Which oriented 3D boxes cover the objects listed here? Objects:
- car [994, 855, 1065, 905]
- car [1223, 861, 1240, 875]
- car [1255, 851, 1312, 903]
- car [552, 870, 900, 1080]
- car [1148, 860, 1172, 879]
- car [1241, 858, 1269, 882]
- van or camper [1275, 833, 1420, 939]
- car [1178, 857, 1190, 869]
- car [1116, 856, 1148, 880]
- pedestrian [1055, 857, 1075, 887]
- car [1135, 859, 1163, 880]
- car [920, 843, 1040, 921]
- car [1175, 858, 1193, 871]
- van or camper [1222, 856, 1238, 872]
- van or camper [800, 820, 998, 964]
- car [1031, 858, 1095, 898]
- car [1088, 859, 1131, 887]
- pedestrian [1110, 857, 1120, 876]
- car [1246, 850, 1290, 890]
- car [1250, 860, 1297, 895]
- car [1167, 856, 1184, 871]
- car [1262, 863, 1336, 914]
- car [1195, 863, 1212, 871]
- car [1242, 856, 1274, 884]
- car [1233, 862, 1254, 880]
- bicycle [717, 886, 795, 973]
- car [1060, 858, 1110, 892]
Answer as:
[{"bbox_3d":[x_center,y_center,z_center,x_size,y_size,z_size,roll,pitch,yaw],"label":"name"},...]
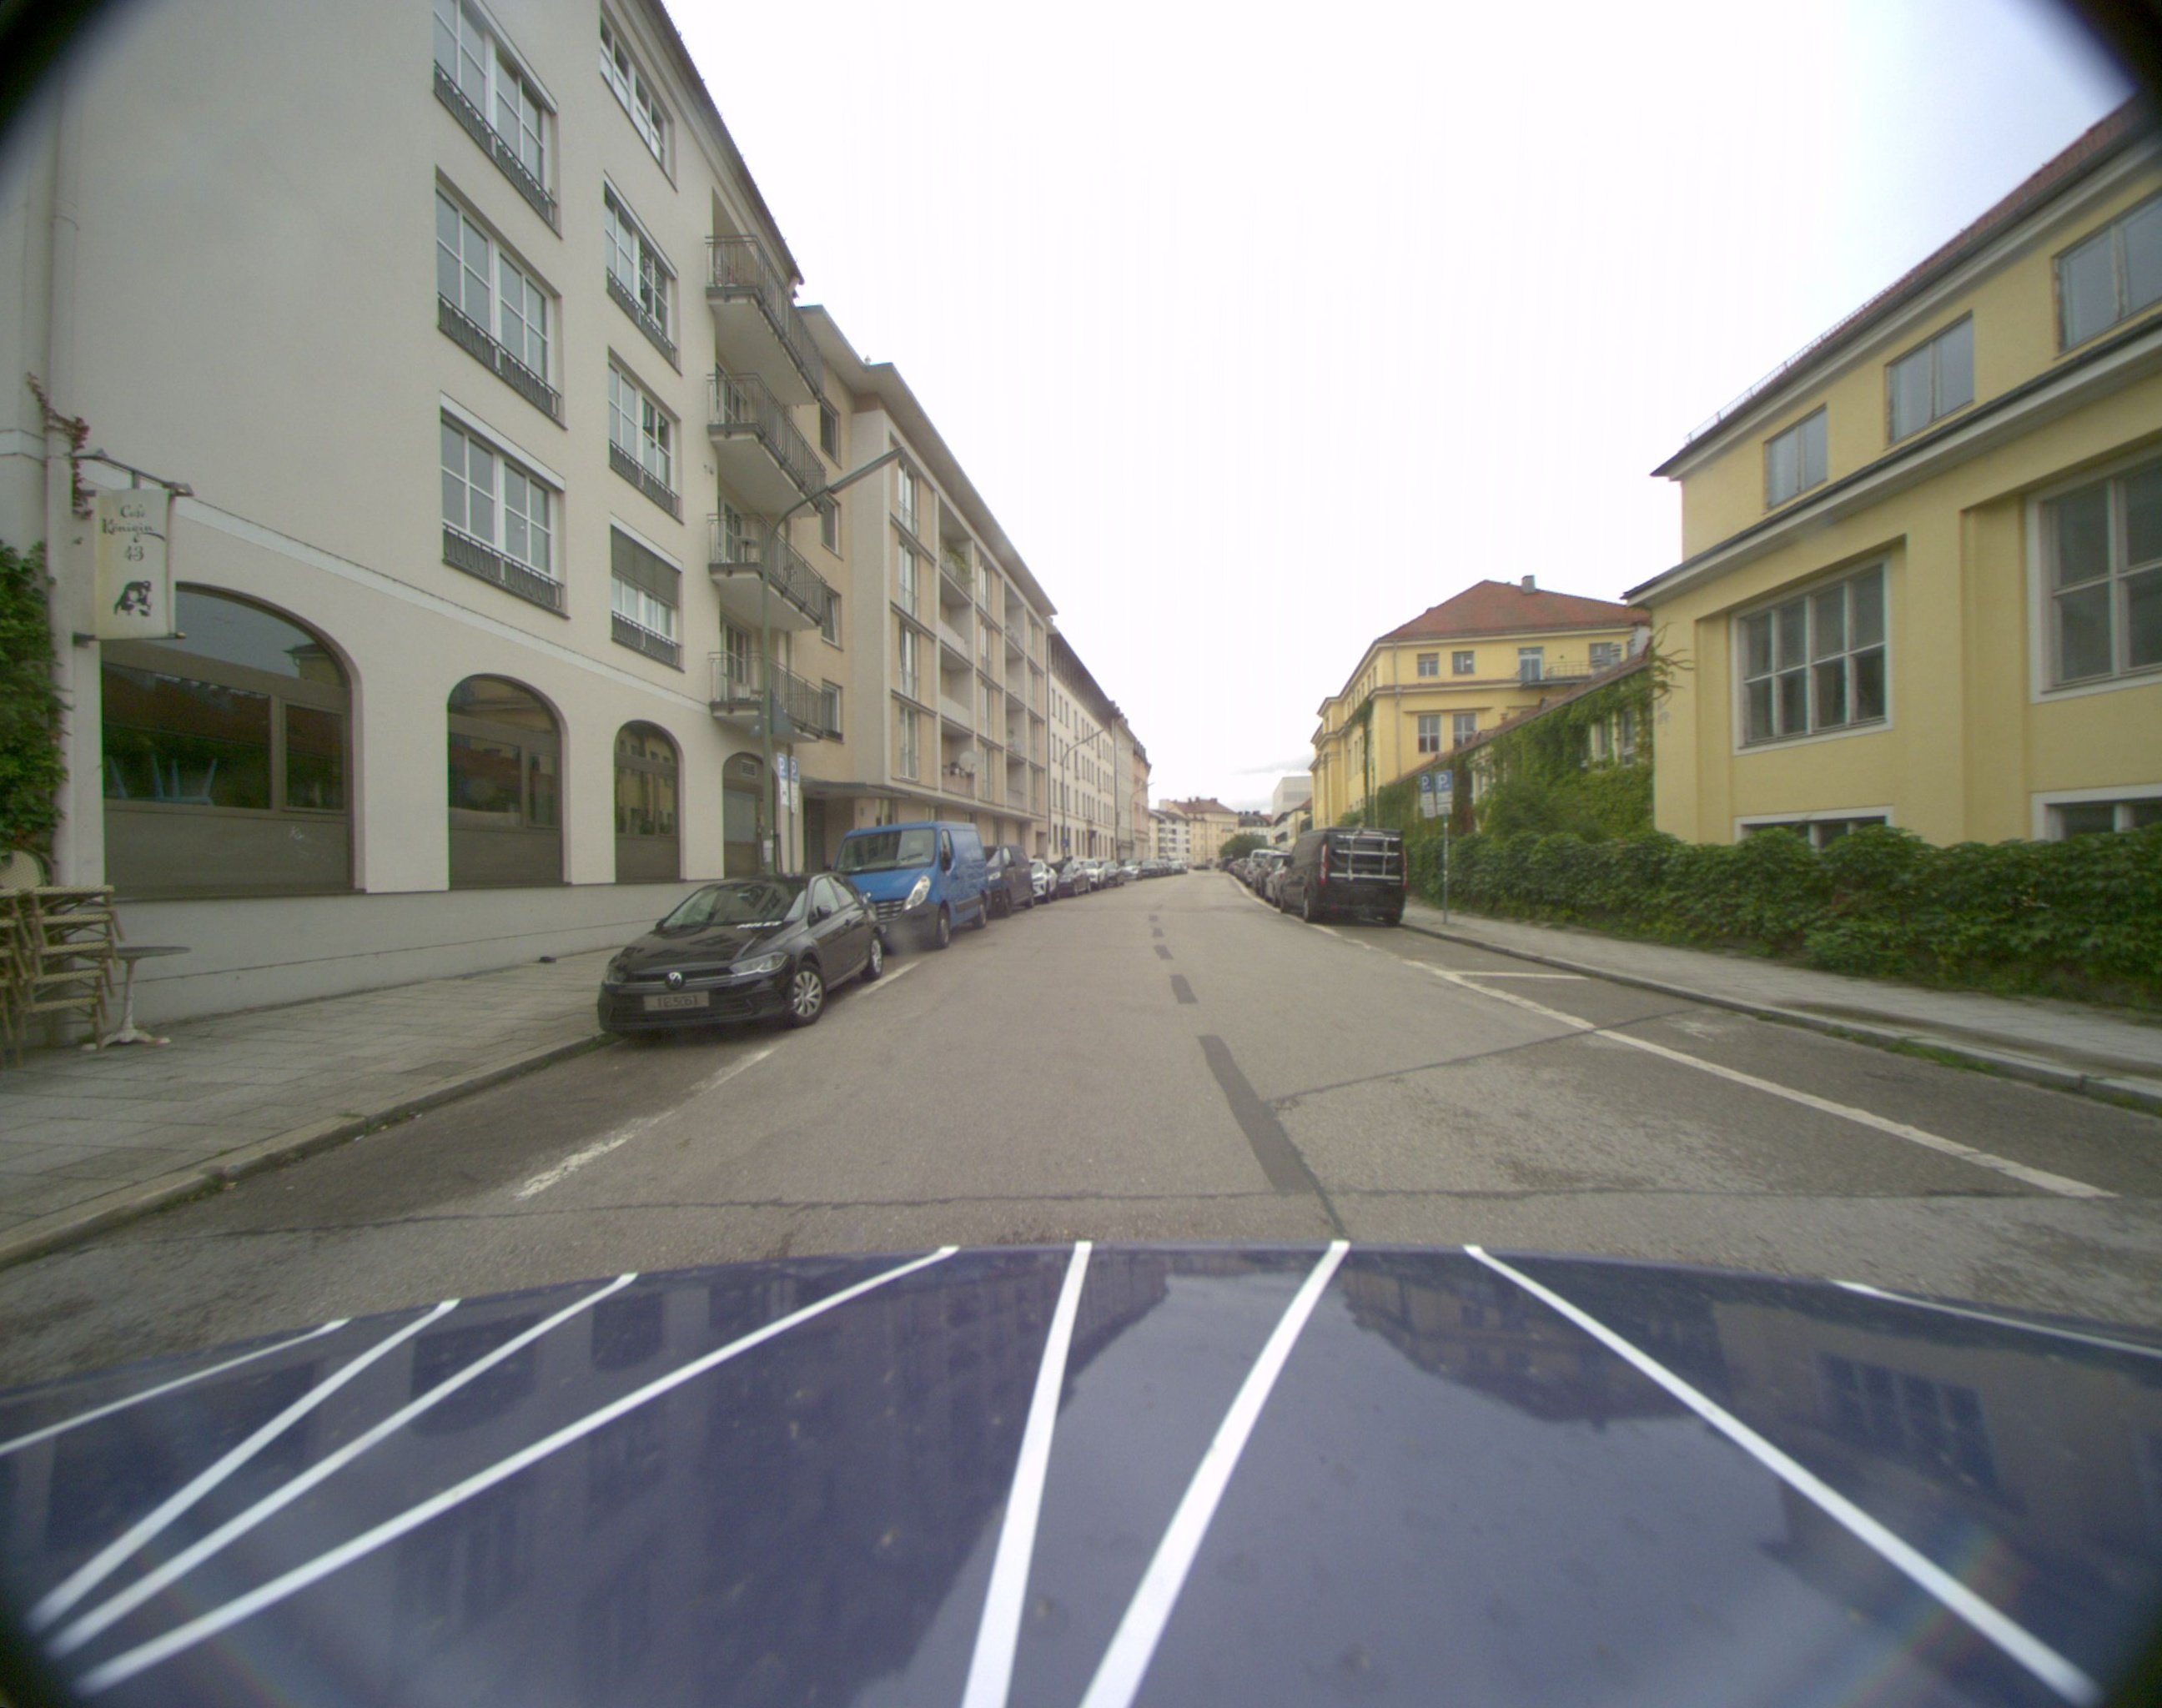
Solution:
[{"bbox_3d":[-1.662,0.825,25.852,1.742,1.528,4.275,0,0,5],"label":"car"},{"bbox_3d":[16.220,1.494,82.091,1.682,1.487,3.989,2,0,10],"label":"car"},{"bbox_3d":[7.391,0.805,28.058,1.622,1.719,4.428,1,-1,10],"label":"car"},{"bbox_3d":[-3.315,1.013,8.066,1.708,1.509,3.959,-4,0,0],"label":"car"},{"bbox_3d":[6.934,1.333,66.363,1.859,1.535,4.160,0,0,9],"label":"car"},{"bbox_3d":[11.145,1.019,48.798,1.581,1.447,3.907,0,0,10],"label":"car"},{"bbox_3d":[5.938,0.645,17.592,1.965,2.053,4.755,2,0,5],"label":"van or camper"},{"bbox_3d":[14.569,1.291,107.234,1.606,1.632,3.634,0,0,9],"label":"car"},{"bbox_3d":[3.525,0.926,51.859,1.674,1.526,3.885,0,0,11],"label":"car"},{"bbox_3d":[-0.901,1.014,43.004,0.899,1.678,1.320,1,0,9],"label":"pedestrian"},{"bbox_3d":[5.508,1.221,61.196,1.859,1.535,4.820,0,0,9],"label":"car"},{"bbox_3d":[-2.502,0.668,20.207,1.968,1.805,4.938,0,0,7],"label":"car"},{"bbox_3d":[12.370,1.246,91.141,1.695,1.442,4.087,0,0,13],"label":"car"},{"bbox_3d":[26.554,1.769,135.711,2.140,2.791,5.575,1,-1,3],"label":"van or camper"},{"bbox_3d":[-3.139,0.564,14.535,2.065,2.218,5.440,0,1,5],"label":"van or camper"},{"bbox_3d":[-0.637,0.919,31.021,1.742,1.490,4.499,0,0,10],"label":"car"},{"bbox_3d":[1.592,0.986,41.021,1.799,1.412,4.486,0,0,9],"label":"car"},{"bbox_3d":[2.969,1.112,65.954,0.735,1.616,0.829,0,0,11],"label":"pedestrian"},{"bbox_3d":[9.384,0.768,38.422,1.997,1.864,4.763,0,0,12],"label":"car"},{"bbox_3d":[8.410,0.983,33.464,1.704,1.414,4.429,0,0,11],"label":"car"},{"bbox_3d":[10.590,1.037,84.953,1.695,1.574,4.086,0,0,9],"label":"car"},{"bbox_3d":[6.481,0.960,22.912,1.622,1.370,4.075,0,0,9],"label":"car"},{"bbox_3d":[30.894,3.233,191.426,4.244,1.848,2.001,1,-1,5],"label":"car"},{"bbox_3d":[10.247,0.892,44.182,1.581,1.483,3.733,-1,0,10],"label":"car"},{"bbox_3d":[15.487,1.642,72.513,1.683,1.624,4.360,-1,0,8],"label":"car"},{"bbox_3d":[-4.996,1.121,11.773,0.667,1.181,1.588,0,0,-7],"label":"bicycle"},{"bbox_3d":[0.264,0.932,35.817,1.742,1.490,4.222,0,0,9],"label":"car"}]
